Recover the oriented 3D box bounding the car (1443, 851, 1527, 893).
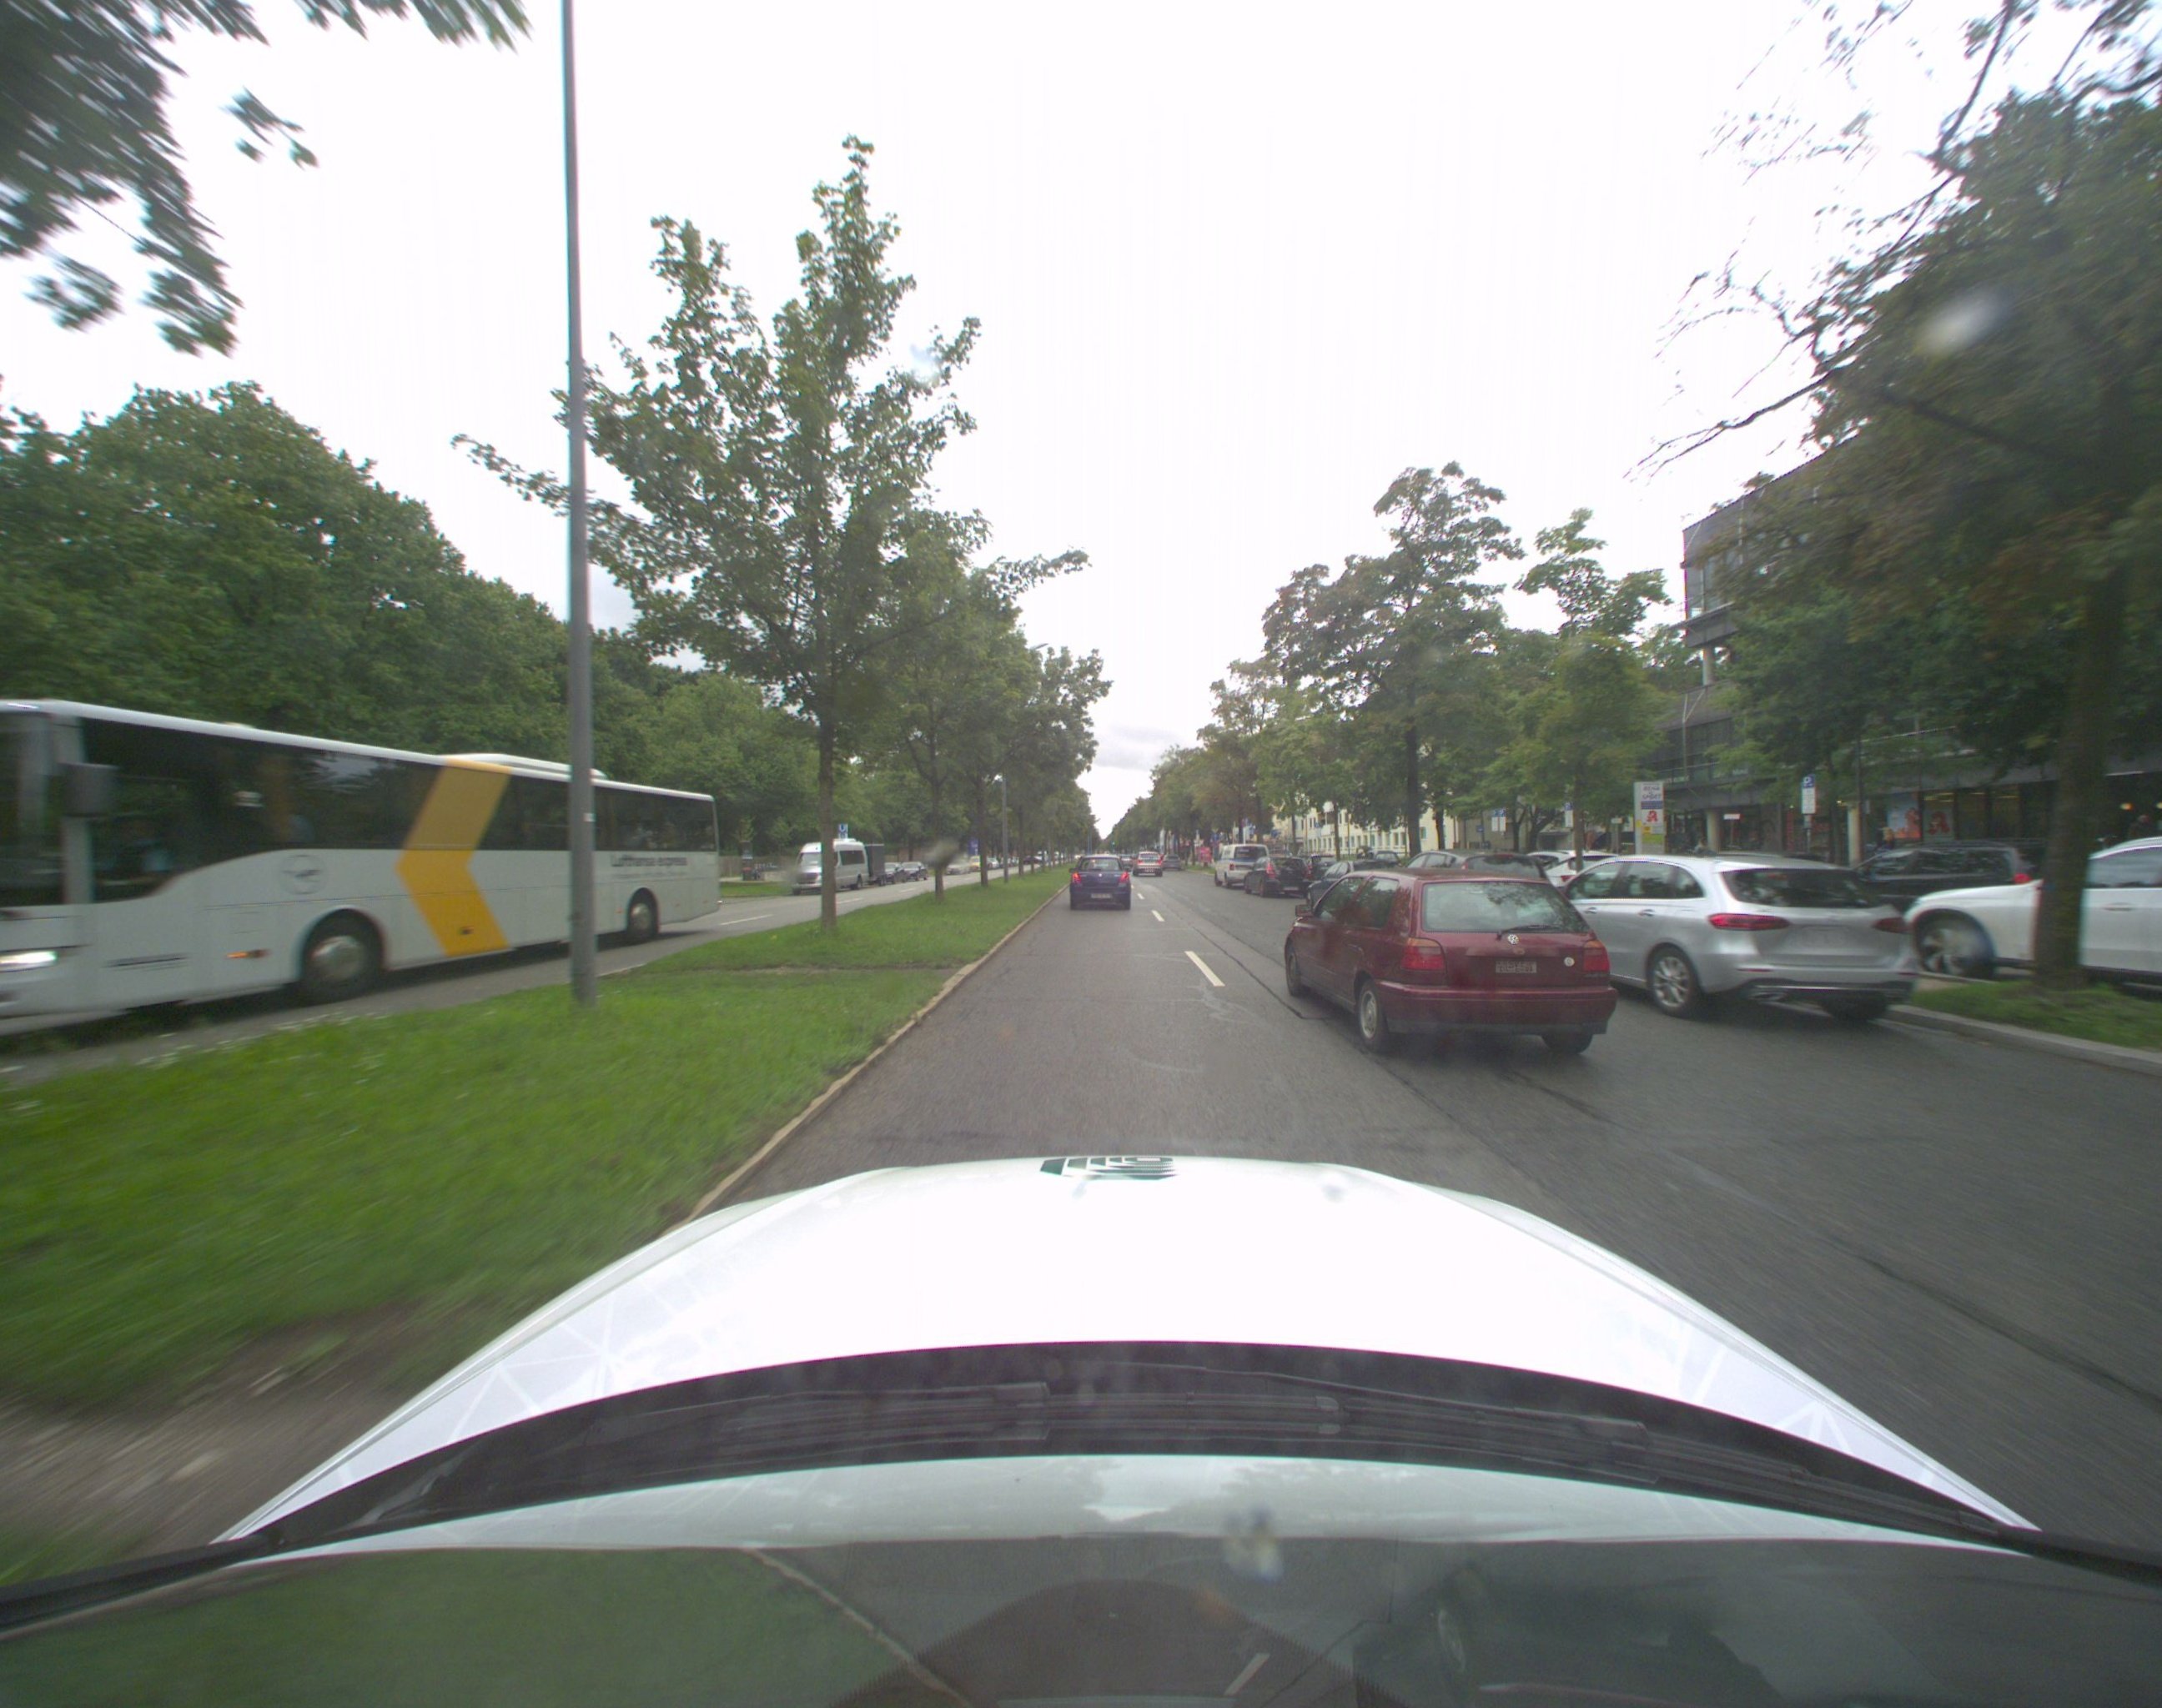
[{"bbox_3d":[16.626,0.703,33.722,1.677,1.585,4.032,-1,0,4],"label":"car"}]

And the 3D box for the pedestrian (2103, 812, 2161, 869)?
[{"bbox_3d":[32.283,-0.417,24.934,0.959,1.704,0.798,0,0,1],"label":"pedestrian"}]

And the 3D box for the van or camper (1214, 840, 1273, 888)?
[{"bbox_3d":[7.249,0.423,36.630,1.937,1.975,4.309,-1,0,2],"label":"van or camper"}]

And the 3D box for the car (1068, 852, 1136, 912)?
[{"bbox_3d":[0.561,0.731,23.611,1.783,1.555,3.999,-1,0,0],"label":"car"}]

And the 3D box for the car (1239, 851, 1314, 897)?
[{"bbox_3d":[7.128,0.696,30.069,1.679,1.553,4.304,-1,0,-1],"label":"car"}]

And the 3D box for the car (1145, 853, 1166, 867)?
[{"bbox_3d":[8.075,0.632,88.666,1.844,1.447,4.097,-1,0,0],"label":"car"}]

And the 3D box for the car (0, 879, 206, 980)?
[{"bbox_3d":[-18.132,1.276,13.720,4.199,1.542,1.901,-1,0,-29],"label":"car"}]

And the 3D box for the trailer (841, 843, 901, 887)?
[{"bbox_3d":[-12.955,0.647,50.625,2.098,2.540,5.579,-1,0,2],"label":"trailer"}]

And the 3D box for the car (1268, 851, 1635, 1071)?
[{"bbox_3d":[2.954,0.721,7.467,1.616,1.454,3.950,-1,0,1],"label":"car"}]

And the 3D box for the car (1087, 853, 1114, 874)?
[{"bbox_3d":[1.390,0.653,59.981,1.844,1.447,4.097,-1,0,0],"label":"car"}]

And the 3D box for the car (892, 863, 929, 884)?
[{"bbox_3d":[-12.620,1.398,60.412,1.844,1.447,4.097,-1,0,0],"label":"car"}]

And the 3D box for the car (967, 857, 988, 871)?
[{"bbox_3d":[-11.720,1.091,92.389,1.844,1.447,4.097,-1,0,0],"label":"car"}]

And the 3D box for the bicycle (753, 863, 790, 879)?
[{"bbox_3d":[-22.978,1.274,60.510,2.488,1.144,0.655,0,0,3],"label":"bicycle"}]

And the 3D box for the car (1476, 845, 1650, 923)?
[{"bbox_3d":[10.852,0.612,18.692,1.678,1.585,4.029,-1,0,1],"label":"car"}]

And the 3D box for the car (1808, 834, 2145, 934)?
[{"bbox_3d":[16.809,0.499,15.700,1.679,1.632,4.382,-1,0,0],"label":"car"}]

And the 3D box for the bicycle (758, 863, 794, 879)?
[{"bbox_3d":[-22.940,1.272,61.241,2.488,1.144,0.708,0,0,3],"label":"bicycle"}]

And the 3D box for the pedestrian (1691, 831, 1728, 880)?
[{"bbox_3d":[22.138,0.057,28.706,0.745,1.706,0.702,-1,0,2],"label":"pedestrian"}]

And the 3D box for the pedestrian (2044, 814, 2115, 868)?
[{"bbox_3d":[32.099,-0.405,26.194,1.013,1.704,1.047,0,0,1],"label":"pedestrian"}]

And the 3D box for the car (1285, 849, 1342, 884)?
[{"bbox_3d":[11.246,0.555,39.600,1.678,1.585,4.029,-1,0,1],"label":"car"}]

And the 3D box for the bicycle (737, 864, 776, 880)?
[{"bbox_3d":[-23.146,1.281,58.034,2.488,1.144,0.724,0,0,3],"label":"bicycle"}]

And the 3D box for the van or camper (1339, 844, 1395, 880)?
[{"bbox_3d":[16.842,0.444,48.137,1.937,1.975,4.309,-1,0,2],"label":"van or camper"}]

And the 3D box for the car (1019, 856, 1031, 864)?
[{"bbox_3d":[-10.554,1.121,153.281,1.844,1.447,4.097,-1,0,0],"label":"car"}]

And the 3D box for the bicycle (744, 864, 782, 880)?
[{"bbox_3d":[-23.056,1.278,59.031,2.488,1.144,0.708,0,0,3],"label":"bicycle"}]

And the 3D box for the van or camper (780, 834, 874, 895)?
[{"bbox_3d":[-13.173,0.499,42.897,2.300,2.833,7.497,-1,0,2],"label":"van or camper"}]

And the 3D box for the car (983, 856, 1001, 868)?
[{"bbox_3d":[-11.610,1.062,105.856,1.844,1.447,4.097,-1,0,0],"label":"car"}]

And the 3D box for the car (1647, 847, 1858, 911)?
[{"bbox_3d":[16.981,0.579,20.930,1.680,1.435,4.378,-1,0,-3],"label":"car"}]

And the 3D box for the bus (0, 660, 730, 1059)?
[{"bbox_3d":[-9.854,0.083,12.979,2.727,3.377,12.020,-3,0,2],"label":"bus"}]

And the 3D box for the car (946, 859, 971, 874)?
[{"bbox_3d":[-12.218,1.250,81.644,1.844,1.447,4.097,-1,0,0],"label":"car"}]

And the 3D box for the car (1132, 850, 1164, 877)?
[{"bbox_3d":[4.520,0.593,55.522,1.844,1.743,4.097,-1,0,0],"label":"car"}]

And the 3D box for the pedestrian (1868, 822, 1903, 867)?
[{"bbox_3d":[31.231,-0.371,31.632,0.678,1.704,0.698,0,0,1],"label":"pedestrian"}]

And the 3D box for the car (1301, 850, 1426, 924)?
[{"bbox_3d":[6.674,0.710,19.736,1.677,1.553,4.309,-1,0,2],"label":"car"}]

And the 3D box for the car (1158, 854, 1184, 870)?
[{"bbox_3d":[8.233,0.703,74.808,1.844,1.447,4.097,-1,0,0],"label":"car"}]

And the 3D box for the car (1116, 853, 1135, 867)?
[{"bbox_3d":[4.861,0.661,89.436,1.844,1.447,4.097,-1,0,0],"label":"car"}]

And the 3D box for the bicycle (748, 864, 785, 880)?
[{"bbox_3d":[-23.041,1.302,59.728,2.488,1.144,0.601,0,0,3],"label":"bicycle"}]

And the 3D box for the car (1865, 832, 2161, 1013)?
[{"bbox_3d":[10.556,0.601,7.749,1.678,1.632,4.782,-1,0,2],"label":"car"}]

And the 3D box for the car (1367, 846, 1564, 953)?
[{"bbox_3d":[6.624,0.687,14.583,1.677,1.626,4.309,0,0,2],"label":"car"}]

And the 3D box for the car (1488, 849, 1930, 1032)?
[{"bbox_3d":[6.413,0.724,9.111,1.677,1.525,4.458,0,0,2],"label":"car"}]
